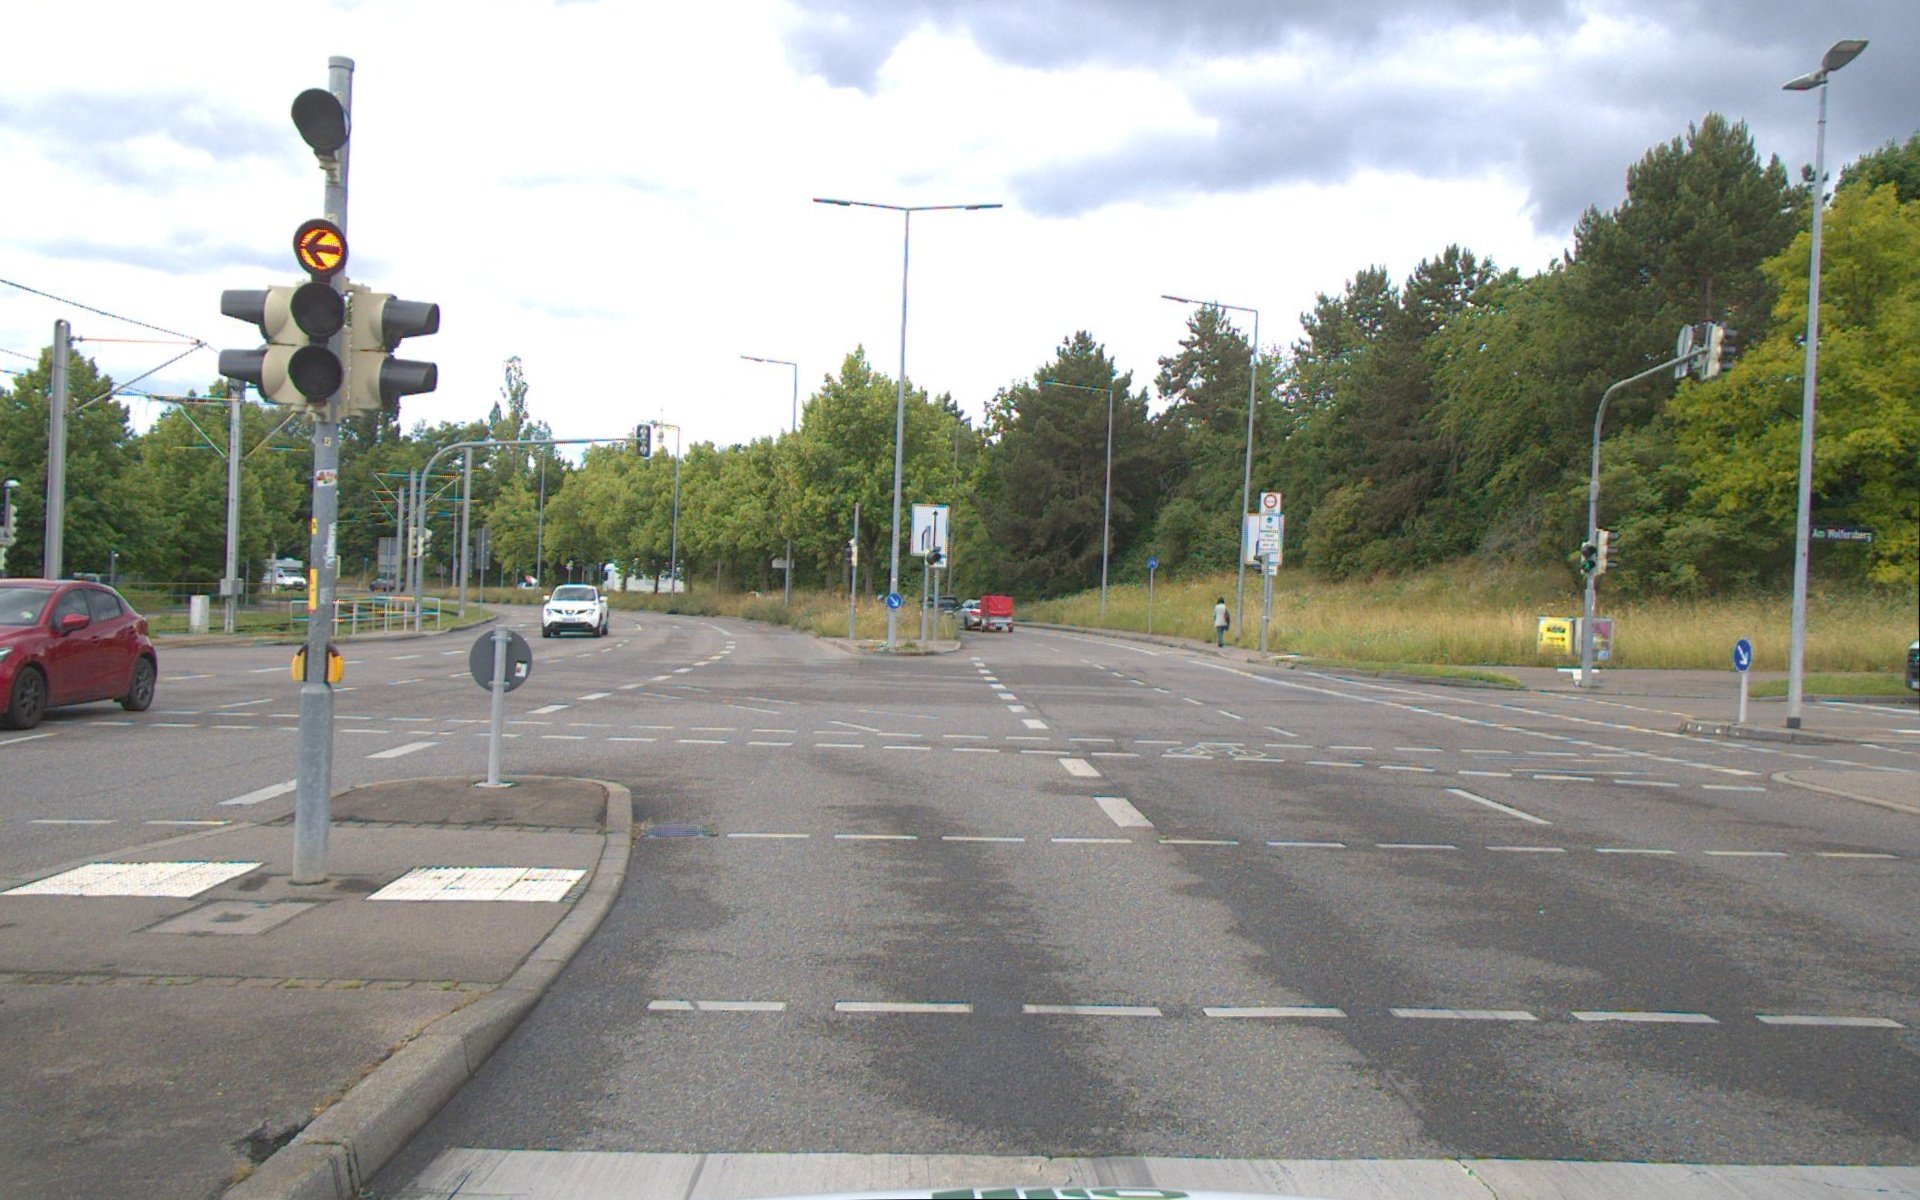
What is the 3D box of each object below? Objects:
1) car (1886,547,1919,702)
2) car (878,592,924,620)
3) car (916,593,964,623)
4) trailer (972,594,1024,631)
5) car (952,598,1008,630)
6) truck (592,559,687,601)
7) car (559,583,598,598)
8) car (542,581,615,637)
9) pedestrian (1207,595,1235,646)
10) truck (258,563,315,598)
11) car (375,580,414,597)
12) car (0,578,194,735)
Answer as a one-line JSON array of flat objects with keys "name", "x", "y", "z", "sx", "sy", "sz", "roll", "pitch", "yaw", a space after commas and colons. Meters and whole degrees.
[{"name": "car", "x": 20.328, "y": 0.468, "z": 30.087, "sx": 5.772, "sy": 2.830, "sz": 2.135, "roll": 0, "pitch": 0, "yaw": -1}, {"name": "car", "x": -3.575, "y": 0.346, "z": 99.884, "sx": 1.750, "sy": 1.573, "sz": 4.005, "roll": 1, "pitch": 0, "yaw": -17}, {"name": "car", "x": -1.116, "y": 0.430, "z": 90.046, "sx": 1.747, "sy": 1.573, "sz": 4.011, "roll": 1, "pitch": 0, "yaw": -13}, {"name": "trailer", "x": 1.744, "y": 0.581, "z": 76.806, "sx": 1.734, "sy": 1.644, "sz": 3.034, "roll": 1, "pitch": 0, "yaw": -13}, {"name": "car", "x": 0.948, "y": 0.651, "z": 80.459, "sx": 1.747, "sy": 1.446, "sz": 4.445, "roll": 1, "pitch": 0, "yaw": -12}, {"name": "truck", "x": -26.794, "y": -1.683, "z": 137.815, "sx": 2.722, "sy": 3.387, "sz": 11.245, "roll": 1, "pitch": 1, "yaw": -39}, {"name": "car", "x": -40.761, "y": -1.017, "z": 176.729, "sx": 1.744, "sy": 1.573, "sz": 4.018, "roll": 1, "pitch": 0, "yaw": 29}, {"name": "car", "x": -11.785, "y": 0.258, "z": 51.331, "sx": 1.794, "sy": 1.657, "sz": 4.418, "roll": 0, "pitch": 0, "yaw": -8}, {"name": "pedestrian", "x": 8.776, "y": 0.681, "z": 55.594, "sx": 0.797, "sy": 1.656, "sz": 0.790, "roll": 1, "pitch": 0, "yaw": -1}, {"name": "truck", "x": -63.381, "y": -1.865, "z": 155.626, "sx": 5.779, "sy": 3.190, "sz": 2.115, "roll": 1, "pitch": 0, "yaw": 34}, {"name": "car", "x": -56.432, "y": -1.148, "z": 165.074, "sx": 3.946, "sy": 1.573, "sz": 1.776, "roll": 1, "pitch": 0, "yaw": 37}, {"name": "car", "x": -9.913, "y": 0.513, "z": 17.488, "sx": 1.745, "sy": 1.468, "sz": 4.423, "roll": 0, "pitch": 0, "yaw": -3}]
